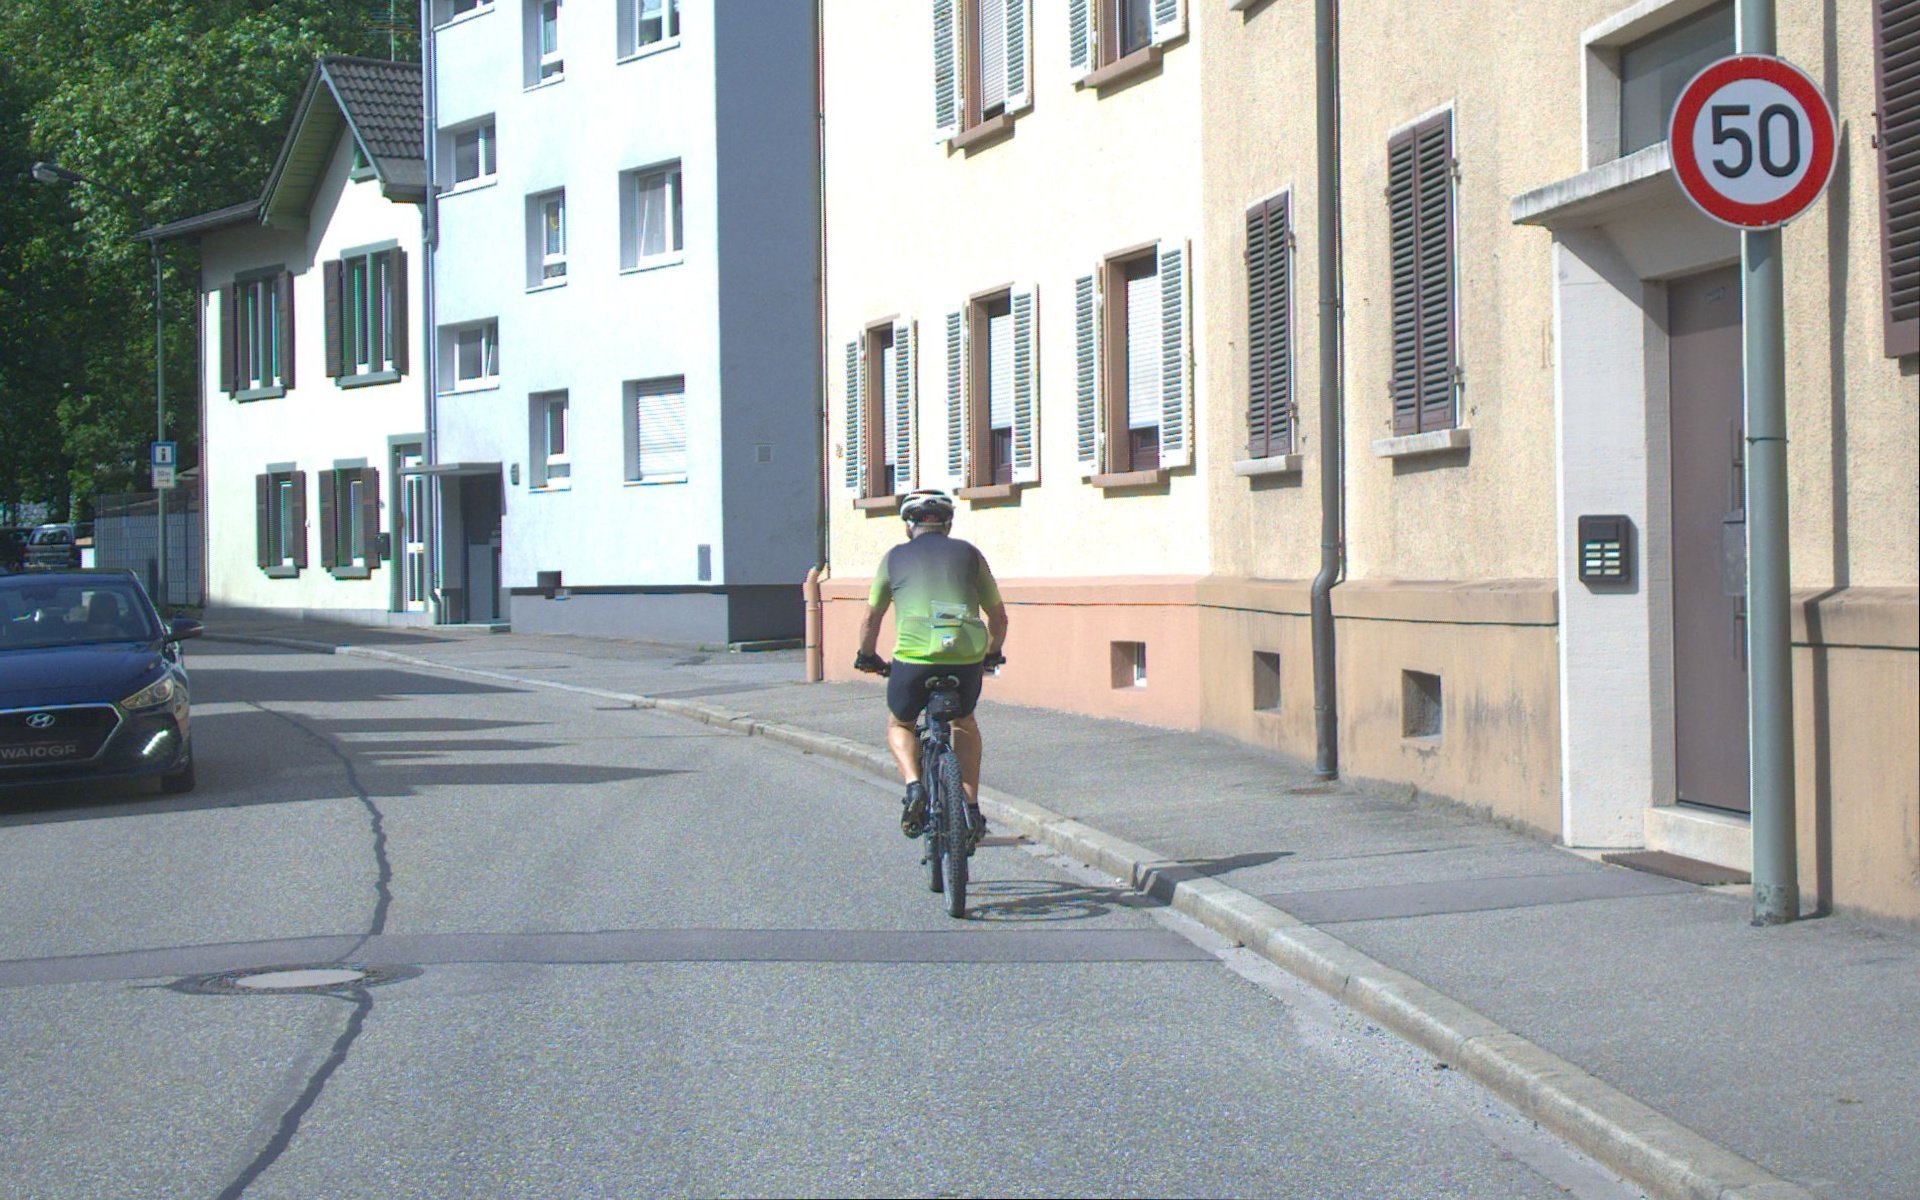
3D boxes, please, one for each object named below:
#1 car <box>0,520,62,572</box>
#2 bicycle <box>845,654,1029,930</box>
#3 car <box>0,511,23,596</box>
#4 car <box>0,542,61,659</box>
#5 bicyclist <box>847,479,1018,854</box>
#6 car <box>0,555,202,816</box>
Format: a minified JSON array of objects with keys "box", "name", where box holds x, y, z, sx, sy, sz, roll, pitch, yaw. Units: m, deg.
[{"box":[-24.157,-1.374,87.572,1.582,1.253,3.858,-2,2,-28],"name":"car"},{"box":[-0.115,0.771,14.294,0.698,1.032,1.471,1,1,-2],"name":"bicycle"},{"box":[-22.062,-1.028,74.450,1.823,1.785,3.999,-3,3,-41],"name":"car"},{"box":[-12.932,0.002,45.719,1.658,1.444,4.260,-4,2,-16],"name":"car"},{"box":[-0.123,0.267,14.347,0.685,1.526,0.716,0,1,-2],"name":"bicyclist"},{"box":[-5.979,0.514,22.636,1.747,1.448,4.029,-5,2,-11],"name":"car"}]
